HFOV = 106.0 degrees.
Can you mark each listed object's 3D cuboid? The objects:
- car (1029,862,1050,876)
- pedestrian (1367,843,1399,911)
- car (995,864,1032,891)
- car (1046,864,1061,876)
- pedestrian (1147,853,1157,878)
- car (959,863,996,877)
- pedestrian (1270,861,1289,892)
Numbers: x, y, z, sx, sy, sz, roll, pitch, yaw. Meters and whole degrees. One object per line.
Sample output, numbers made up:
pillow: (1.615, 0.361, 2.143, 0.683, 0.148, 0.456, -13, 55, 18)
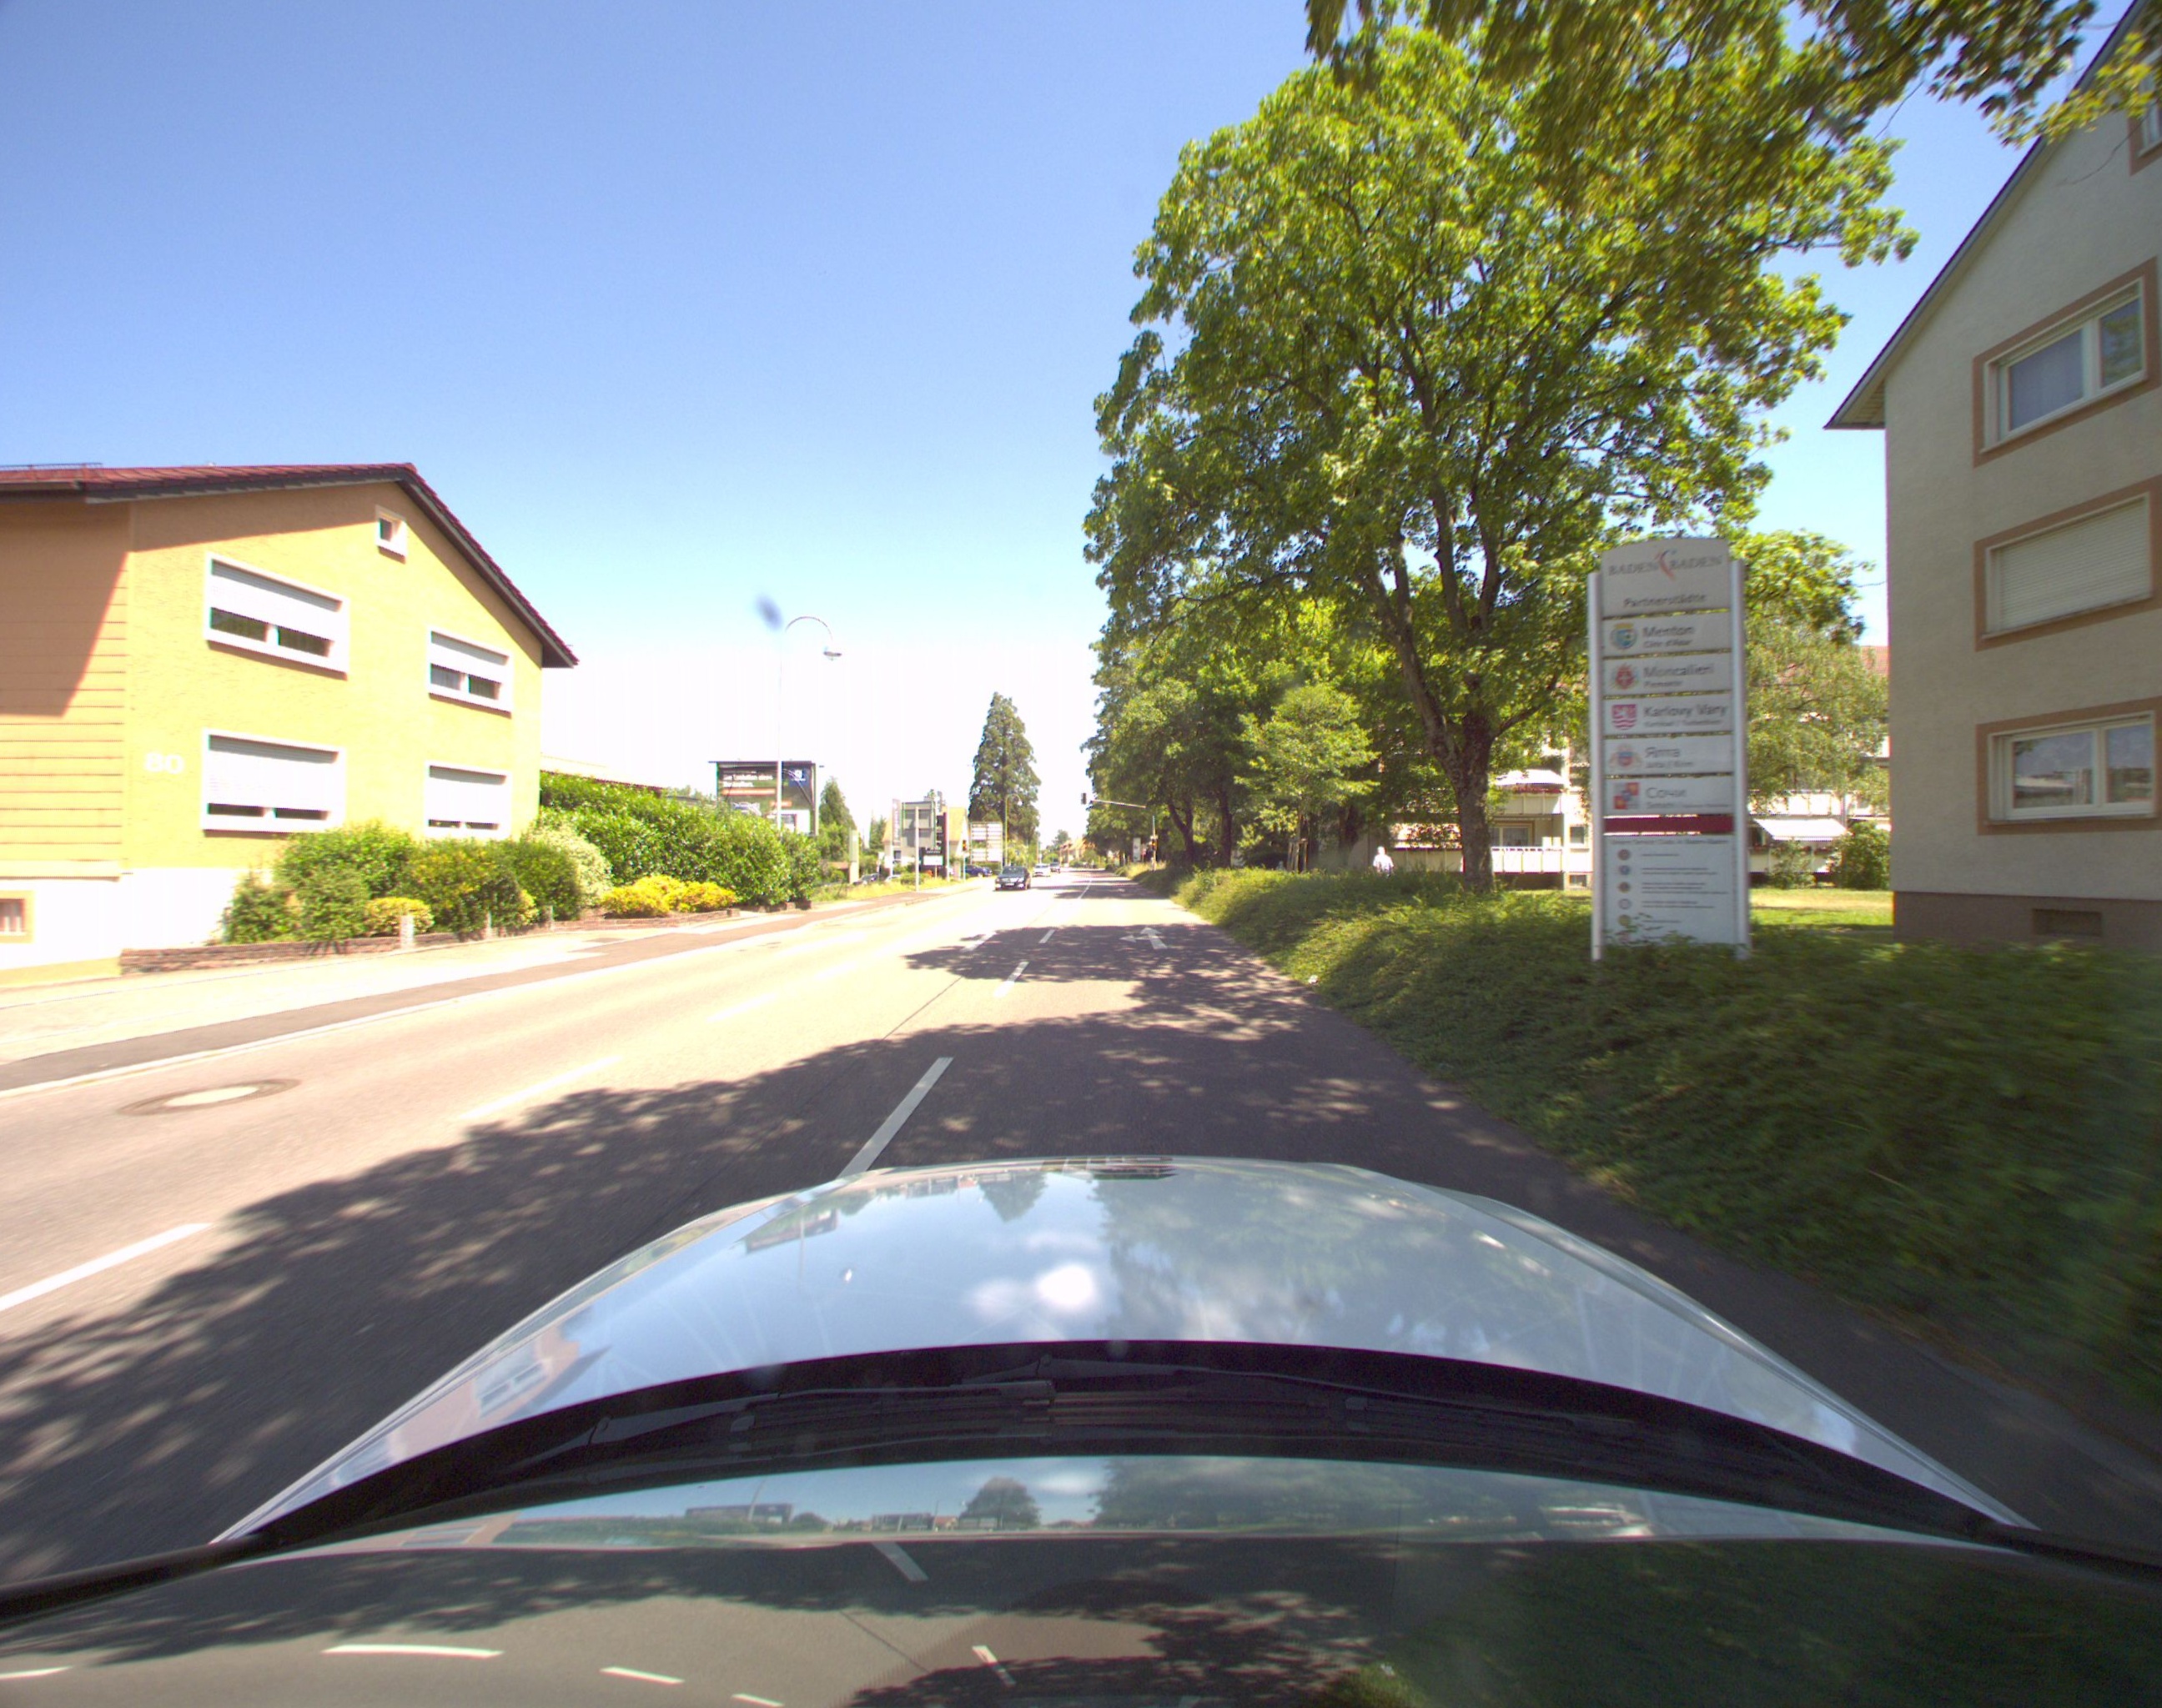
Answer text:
car: (-4.582, 1.630, 90.393, 1.985, 1.487, 4.312, -1, -1, 3)
pedestrian: (8.684, 0.648, 23.441, 0.700, 1.914, 0.661, -1, -1, 5)
car: (-3.883, 1.335, 47.525, 1.703, 1.495, 4.279, 0, 0, 2)
car: (-4.147, 2.416, 122.608, 1.872, 1.718, 4.311, 0, -1, 2)
pedestrian: (5.007, 0.827, 57.551, 0.611, 1.751, 0.562, 0, -1, 0)
car: (-10.859, 1.676, 85.567, 3.474, 1.427, 1.603, 0, -1, 5)
pedestrian: (8.685, 0.998, 35.656, 0.659, 1.335, 0.889, 0, -1, 2)
